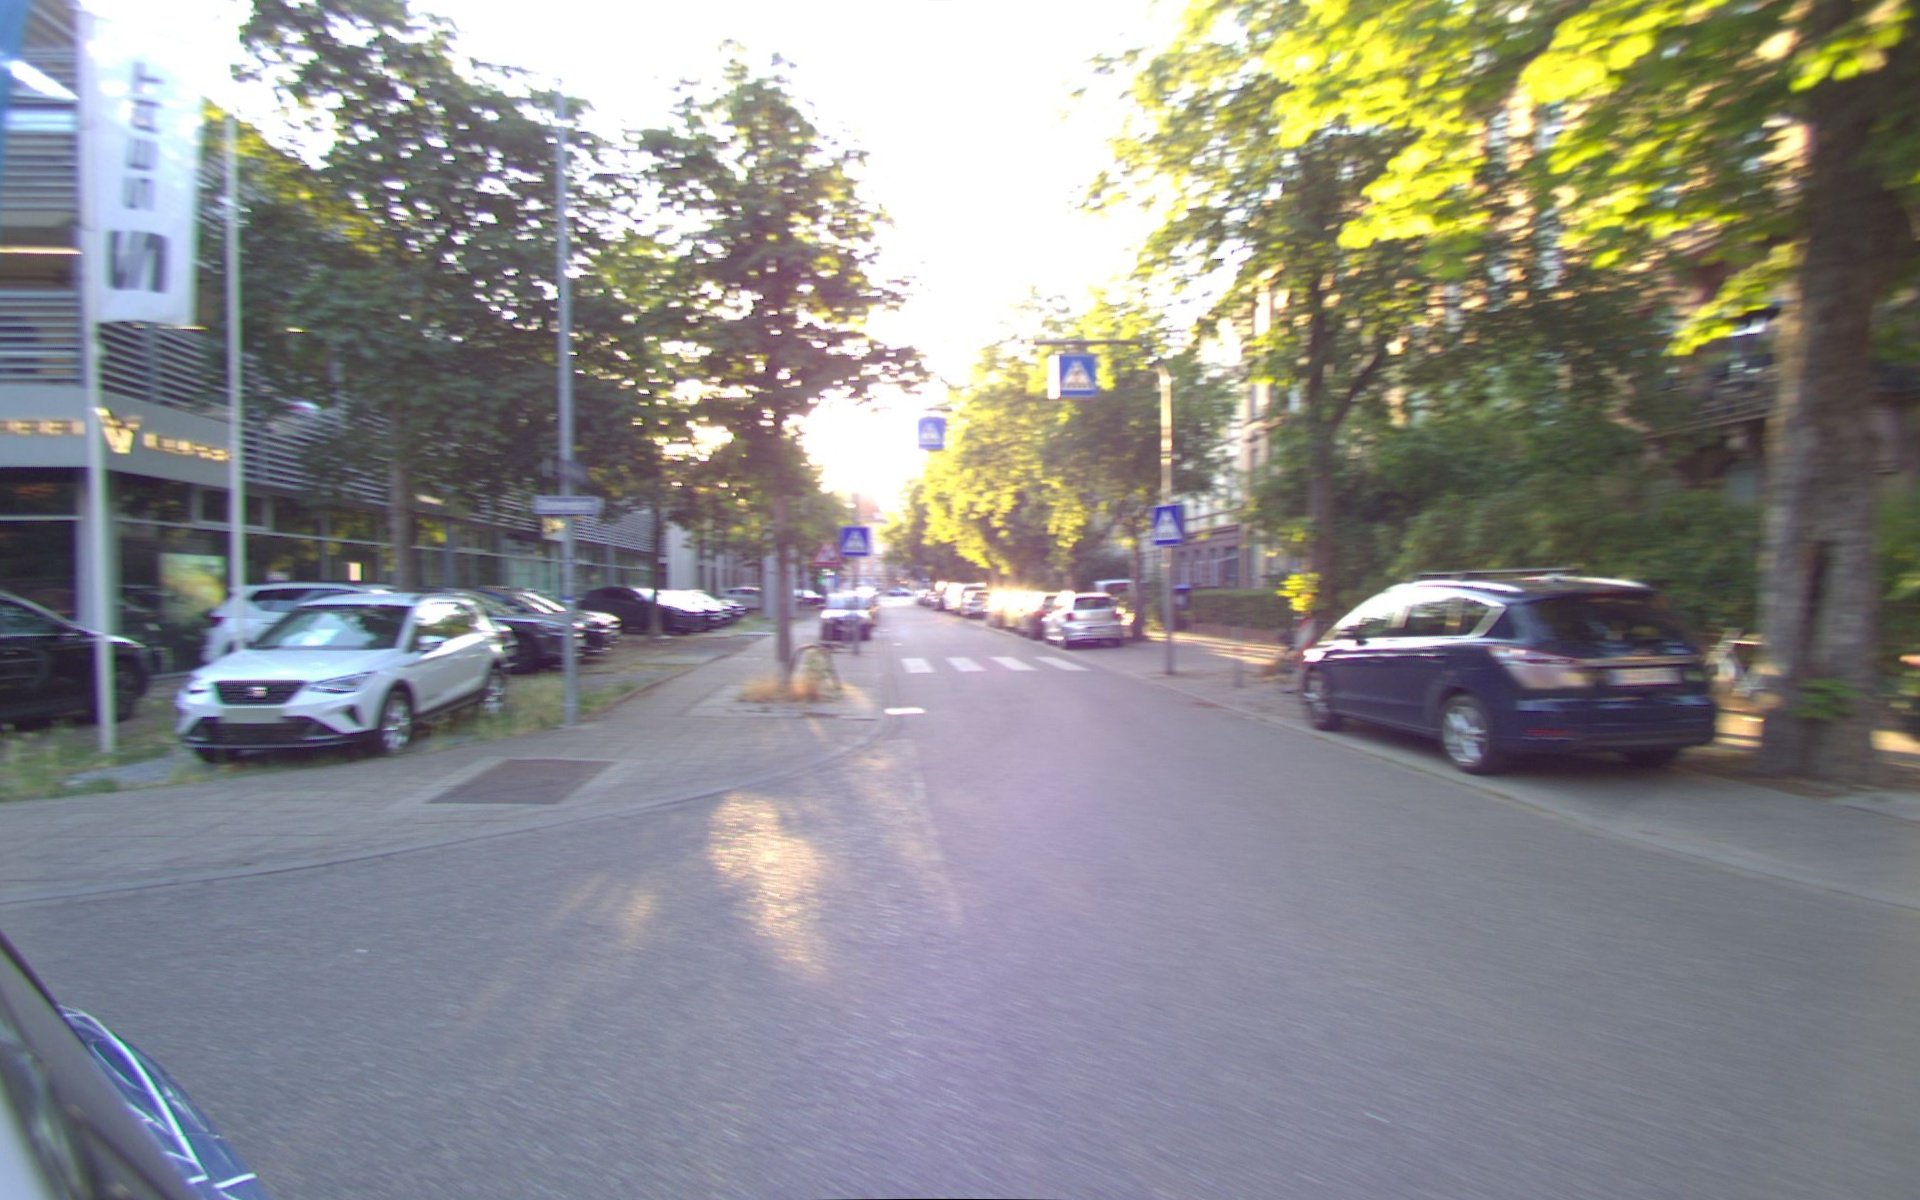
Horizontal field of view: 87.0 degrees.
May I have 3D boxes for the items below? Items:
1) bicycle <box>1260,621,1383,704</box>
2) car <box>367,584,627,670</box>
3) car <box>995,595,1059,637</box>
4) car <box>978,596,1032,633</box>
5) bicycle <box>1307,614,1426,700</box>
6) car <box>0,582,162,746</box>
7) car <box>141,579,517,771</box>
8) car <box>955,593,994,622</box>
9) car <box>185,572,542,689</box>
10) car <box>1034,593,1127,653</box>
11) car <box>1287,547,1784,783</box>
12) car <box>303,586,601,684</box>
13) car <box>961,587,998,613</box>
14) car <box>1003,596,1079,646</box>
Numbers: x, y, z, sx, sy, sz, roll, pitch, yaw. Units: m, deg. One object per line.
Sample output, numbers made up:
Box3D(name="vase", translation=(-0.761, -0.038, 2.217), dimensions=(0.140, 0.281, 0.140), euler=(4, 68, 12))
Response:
Box3D(name="bicycle", translation=(5.114, 0.852, 14.457), dimensions=(0.595, 1.044, 1.814), euler=(-3, 1, -20))
Box3D(name="car", translation=(-9.415, 0.529, 20.890), dimensions=(4.522, 1.584, 1.874), euler=(-1, 0, -5))
Box3D(name="car", translation=(2.456, 0.579, 38.032), dimensions=(1.593, 1.452, 4.317), euler=(-2, 0, -7))
Box3D(name="car", translation=(1.867, 0.606, 42.954), dimensions=(1.593, 1.452, 4.111), euler=(-2, 0, -7))
Box3D(name="bicycle", translation=(5.835, 0.784, 14.640), dimensions=(0.596, 1.101, 1.813), euler=(-3, 1, -14))
Box3D(name="car", translation=(-10.391, 0.654, 10.102), dimensions=(1.693, 1.617, 4.130), euler=(-1, 1, -2))
Box3D(name="car", translation=(-6.146, 0.630, 10.460), dimensions=(1.741, 1.584, 3.907), euler=(0, 0, -5))
Box3D(name="car", translation=(0.741, 0.407, 56.081), dimensions=(1.593, 1.452, 4.111), euler=(-2, 0, -7))
Box3D(name="car", translation=(-9.279, 0.453, 16.075), dimensions=(4.522, 1.656, 1.874), euler=(-1, 0, -5))
Box3D(name="car", translation=(3.247, 0.594, 27.910), dimensions=(1.592, 1.452, 3.761), euler=(-3, 0, -8))
Box3D(name="car", translation=(5.055, 0.481, 9.850), dimensions=(1.844, 1.700, 4.597), euler=(-1, 0, -5))
Box3D(name="car", translation=(-9.180, 0.606, 18.605), dimensions=(4.522, 1.628, 1.874), euler=(-1, 0, -5))
Box3D(name="car", translation=(1.142, 0.033, 60.496), dimensions=(1.593, 1.452, 4.111), euler=(-2, 0, -7))
Box3D(name="car", translation=(2.552, 0.639, 32.950), dimensions=(1.593, 1.452, 4.317), euler=(-2, 0, -7))
